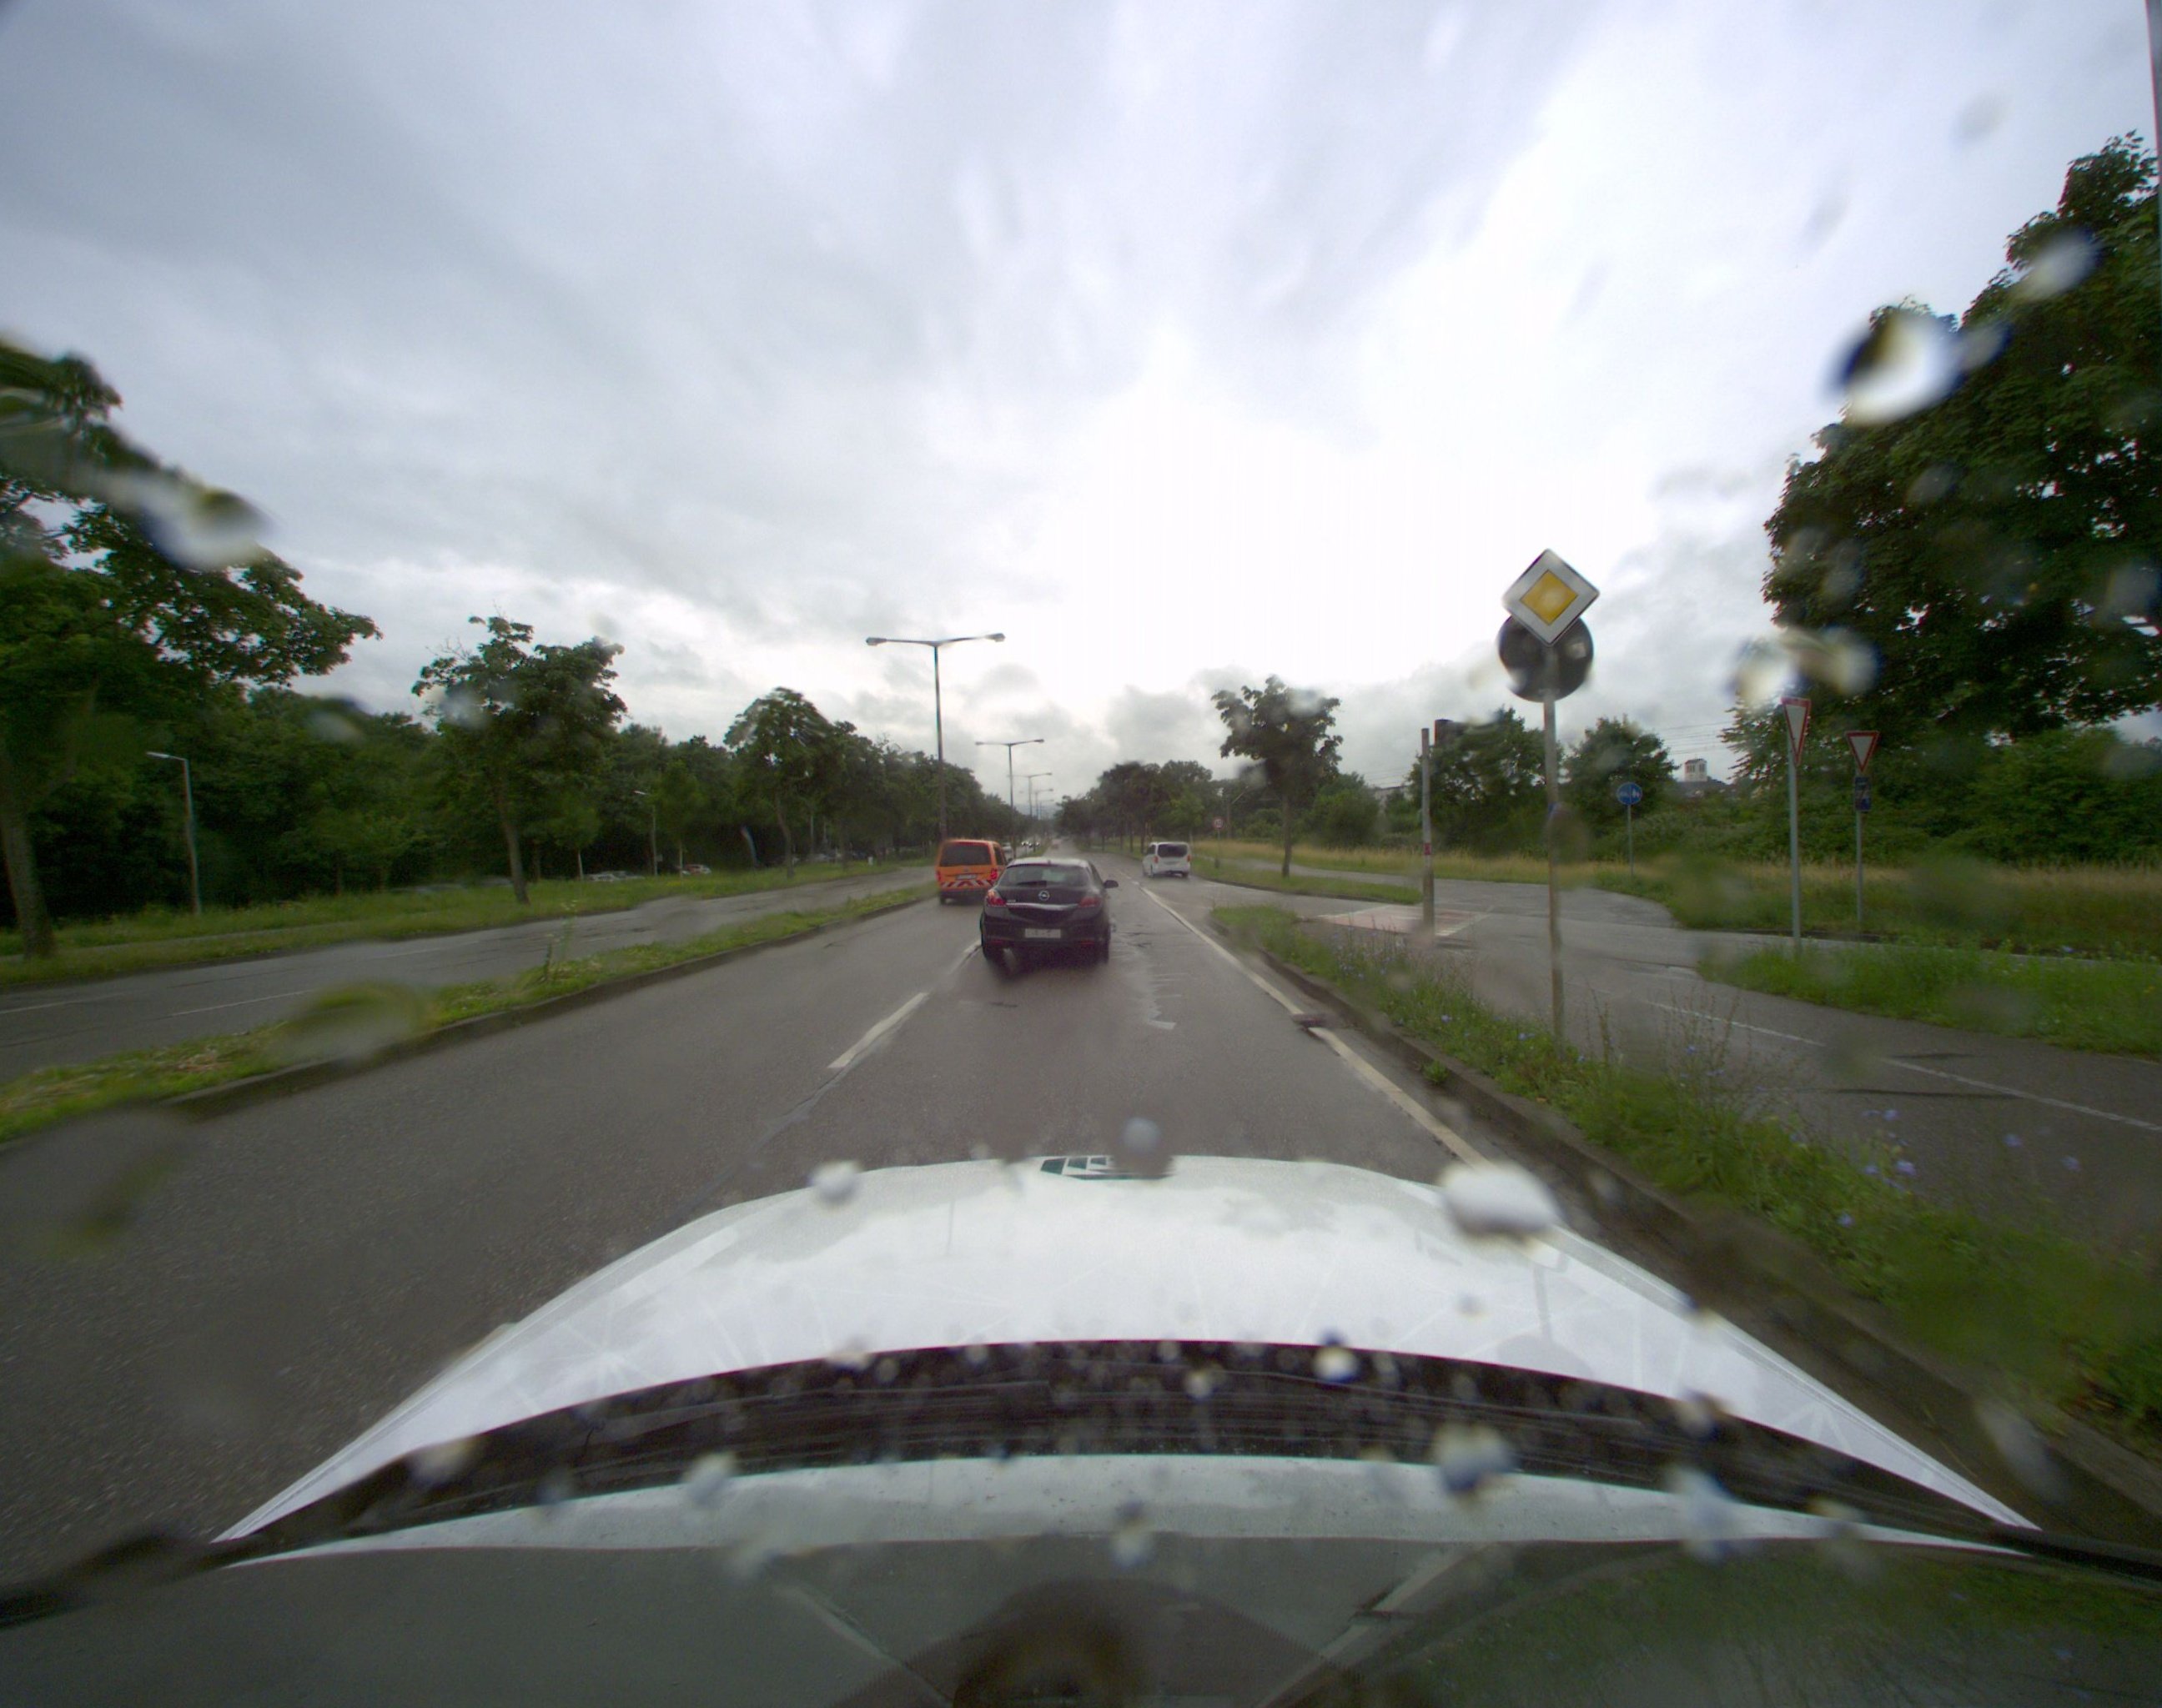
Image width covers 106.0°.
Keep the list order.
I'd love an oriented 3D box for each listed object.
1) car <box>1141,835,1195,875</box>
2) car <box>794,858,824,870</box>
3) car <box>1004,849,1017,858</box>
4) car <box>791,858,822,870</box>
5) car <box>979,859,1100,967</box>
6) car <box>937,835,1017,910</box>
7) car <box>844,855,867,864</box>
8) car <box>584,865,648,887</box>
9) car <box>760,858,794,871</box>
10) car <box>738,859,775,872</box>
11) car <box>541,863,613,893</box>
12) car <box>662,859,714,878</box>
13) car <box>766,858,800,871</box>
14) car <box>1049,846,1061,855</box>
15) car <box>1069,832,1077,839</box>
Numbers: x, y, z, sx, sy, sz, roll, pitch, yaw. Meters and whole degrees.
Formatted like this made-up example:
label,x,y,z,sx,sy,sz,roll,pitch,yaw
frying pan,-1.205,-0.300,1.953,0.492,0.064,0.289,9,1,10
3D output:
label,x,y,z,sx,sy,sz,roll,pitch,yaw
car,4.495,0.051,42.942,2.055,1.974,4.602,-1,0,-4
car,-39.517,1.449,118.517,3.830,1.452,1.522,-2,1,-6
car,-11.610,-0.084,133.900,1.677,1.554,4.001,-1,0,1
car,-39.167,1.429,116.108,3.830,1.452,1.522,-2,1,-6
car,-0.490,0.766,12.306,1.457,1.329,3.760,-1,0,2
car,-3.065,0.491,24.897,1.729,2.018,4.849,-2,0,0
car,-39.677,0.979,143.164,3.843,1.452,1.517,-2,1,-16
car,-37.414,1.760,65.596,3.981,1.618,1.996,-2,0,-6
car,-39.378,1.371,105.624,3.830,1.452,1.522,-2,1,-6
car,-39.014,1.394,97.994,3.728,1.426,1.485,-2,1,-6
car,-37.470,1.755,60.644,3.981,2.013,1.996,-2,1,-6
car,-37.578,1.384,77.894,3.981,1.640,1.908,-2,1,-6
car,-39.602,1.390,108.297,3.830,1.452,1.522,-2,1,-6
car,-5.175,-0.696,163.088,1.985,1.879,4.003,-1,0,2
car,-2.576,-5.751,256.308,2.509,2.052,5.291,0,0,-1
